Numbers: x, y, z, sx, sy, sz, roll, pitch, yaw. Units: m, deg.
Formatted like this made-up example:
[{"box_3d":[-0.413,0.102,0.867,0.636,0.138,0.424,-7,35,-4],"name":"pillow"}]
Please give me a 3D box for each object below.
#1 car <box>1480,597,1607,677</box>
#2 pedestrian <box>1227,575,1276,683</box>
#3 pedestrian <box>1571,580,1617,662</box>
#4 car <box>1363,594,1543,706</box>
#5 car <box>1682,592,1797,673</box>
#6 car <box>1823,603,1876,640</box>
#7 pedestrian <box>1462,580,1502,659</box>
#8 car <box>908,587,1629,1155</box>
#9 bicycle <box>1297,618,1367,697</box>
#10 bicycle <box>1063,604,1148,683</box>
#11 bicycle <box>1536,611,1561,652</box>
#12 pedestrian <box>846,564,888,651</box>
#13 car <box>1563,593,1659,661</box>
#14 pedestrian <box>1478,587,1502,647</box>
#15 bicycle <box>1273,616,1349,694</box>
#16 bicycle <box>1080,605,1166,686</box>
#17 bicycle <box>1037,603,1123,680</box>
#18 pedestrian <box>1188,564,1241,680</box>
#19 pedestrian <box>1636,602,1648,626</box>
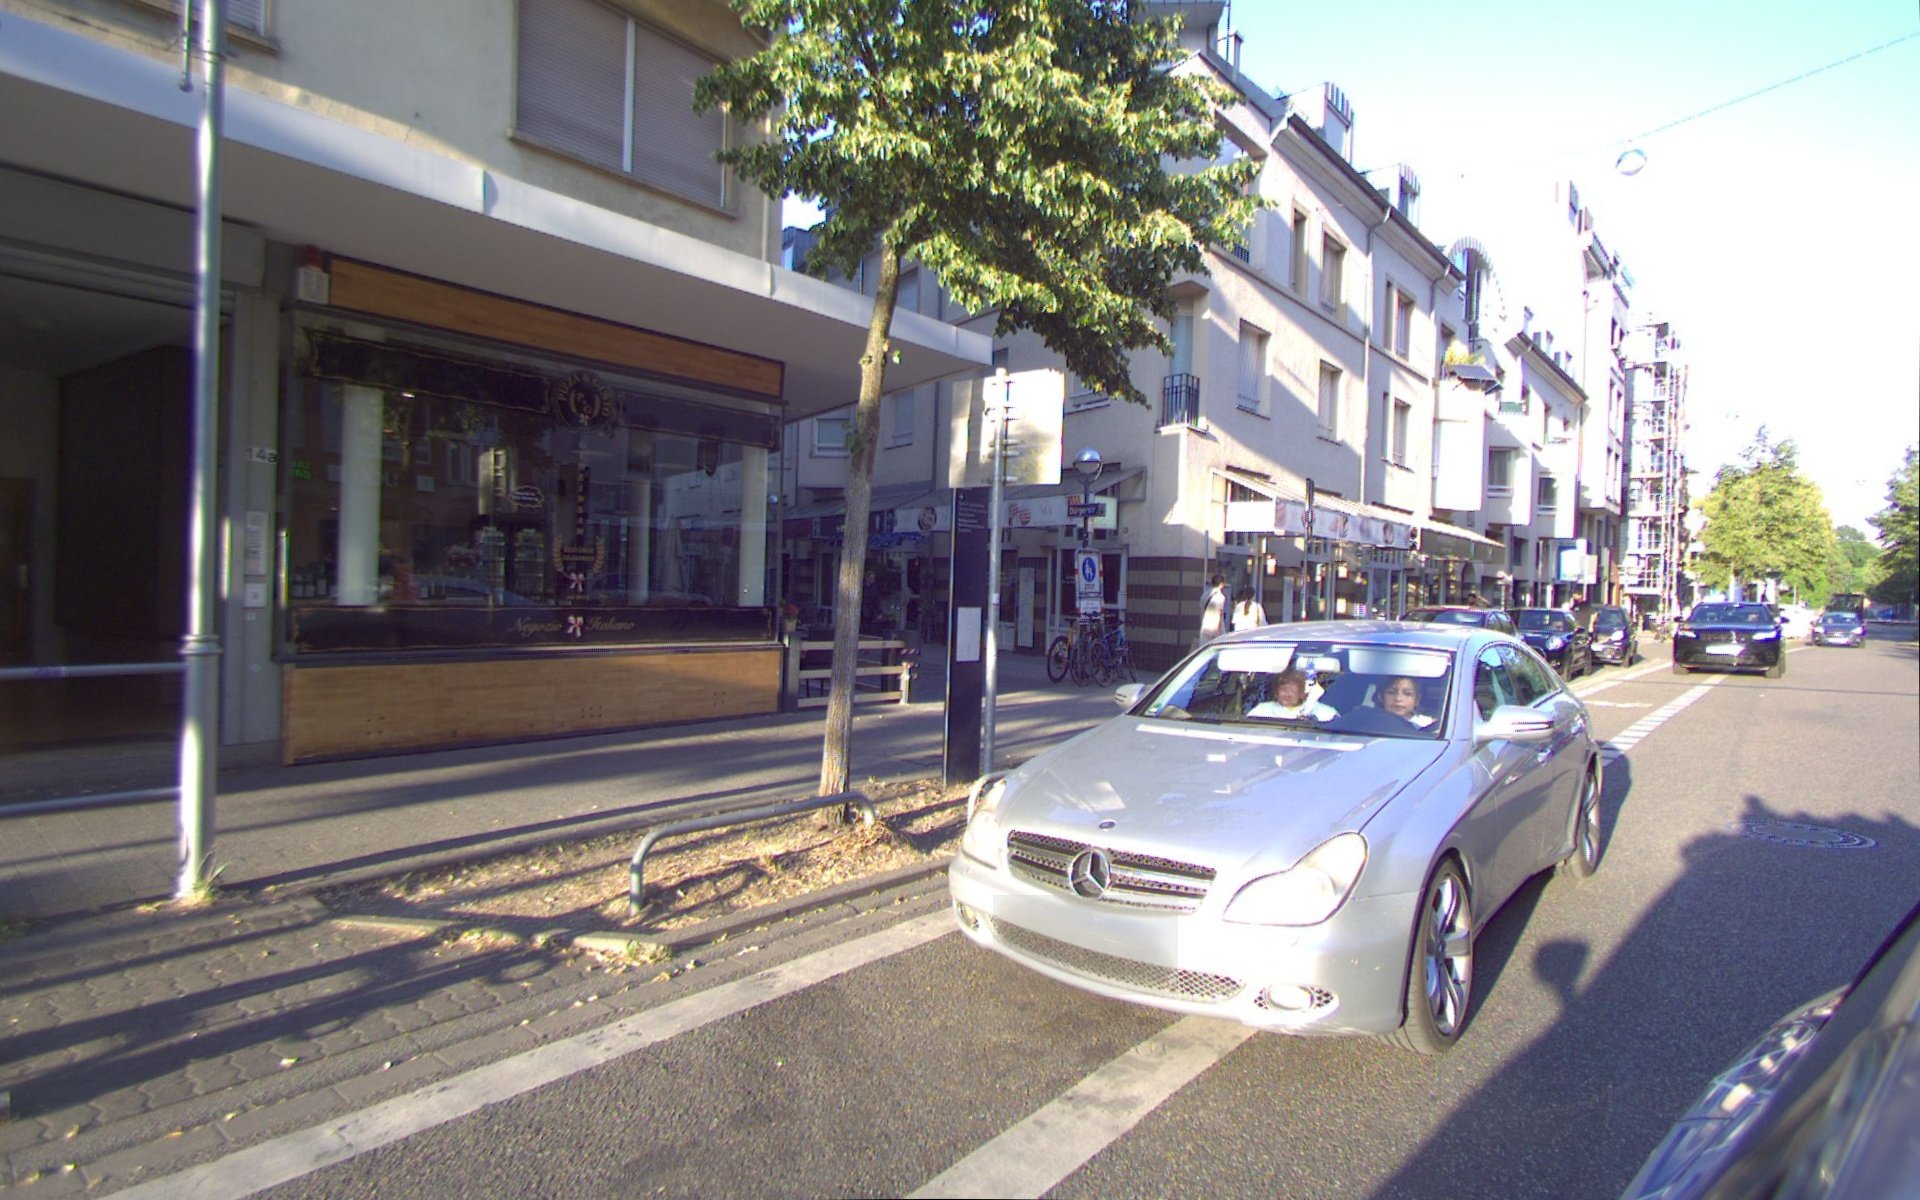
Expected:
[{"box_3d":[12.253,0.709,21.159,1.615,1.452,3.868,3,2,40],"name":"car"},{"box_3d":[4.511,0.439,15.670,0.519,1.612,0.402,5,3,41],"name":"pedestrian"},{"box_3d":[15.075,0.492,24.065,0.776,1.907,0.660,-2,-2,41],"name":"pedestrian"},{"box_3d":[7.773,0.689,15.775,1.587,1.451,3.868,4,2,40],"name":"car"},{"box_3d":[17.898,0.674,23.156,1.884,1.656,4.165,0,0,41],"name":"car"},{"box_3d":[37.719,0.887,42.962,1.616,1.492,3.634,0,0,41],"name":"car"},{"box_3d":[12.063,0.431,23.388,0.629,1.771,0.660,3,2,41],"name":"pedestrian"},{"box_3d":[1.931,0.680,4.961,1.740,1.418,4.573,1,2,40],"name":"car"},{"box_3d":[5.466,0.815,14.817,0.314,1.059,1.638,3,2,43],"name":"bicycle"},{"box_3d":[2.241,0.632,15.401,0.290,1.118,1.859,2,1,41],"name":"bicycle"},{"box_3d":[16.239,0.859,27.917,0.295,1.099,1.441,1,1,41],"name":"bicycle"},{"box_3d":[-1.898,0.139,20.588,0.688,1.696,0.799,2,2,-13],"name":"pedestrian"},{"box_3d":[17.182,0.649,26.647,1.615,1.612,3.868,2,1,40],"name":"car"},{"box_3d":[16.451,0.518,31.430,0.574,1.823,0.443,0,0,42],"name":"pedestrian"},{"box_3d":[5.250,0.787,15.078,0.314,1.059,1.853,3,2,43],"name":"bicycle"},{"box_3d":[2.474,0.649,15.185,0.320,1.118,1.851,2,1,41],"name":"bicycle"},{"box_3d":[1.886,0.615,15.721,0.320,1.118,1.851,2,1,41],"name":"bicycle"},{"box_3d":[4.043,0.342,16.078,0.543,1.779,0.495,5,3,41],"name":"pedestrian"},{"box_3d":[36.298,0.750,53.877,0.490,1.279,0.415,0,0,42],"name":"pedestrian"}]
